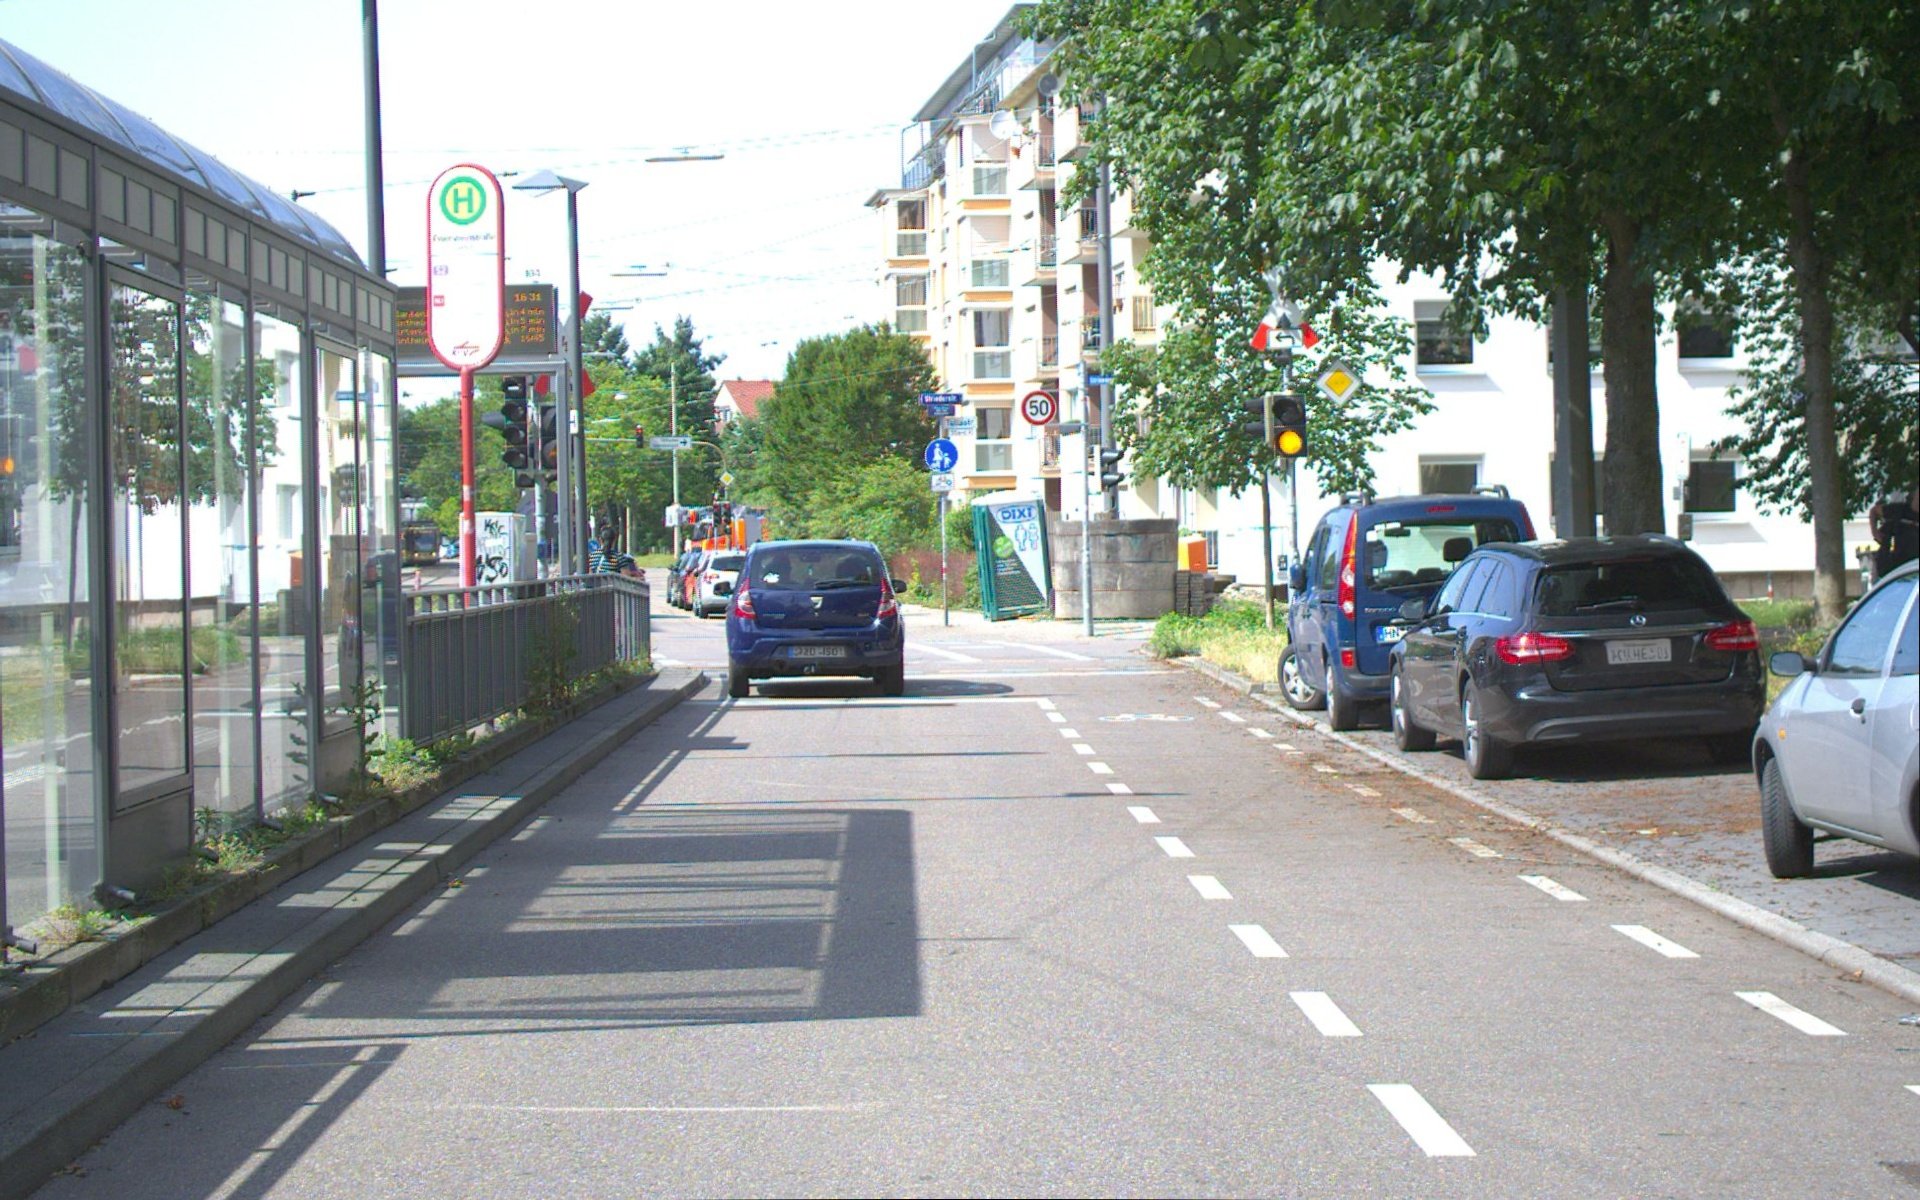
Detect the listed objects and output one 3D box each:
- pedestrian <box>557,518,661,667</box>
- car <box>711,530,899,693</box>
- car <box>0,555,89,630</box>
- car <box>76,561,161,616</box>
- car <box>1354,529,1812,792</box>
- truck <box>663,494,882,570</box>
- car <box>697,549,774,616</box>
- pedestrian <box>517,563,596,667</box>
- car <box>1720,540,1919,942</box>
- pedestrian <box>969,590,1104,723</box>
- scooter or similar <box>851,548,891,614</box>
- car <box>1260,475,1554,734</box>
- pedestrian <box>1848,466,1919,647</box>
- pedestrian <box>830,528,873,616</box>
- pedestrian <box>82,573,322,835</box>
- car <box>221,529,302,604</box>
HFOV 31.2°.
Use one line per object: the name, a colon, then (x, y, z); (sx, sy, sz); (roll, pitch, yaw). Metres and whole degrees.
pedestrian: (-3.993, -0.083, 39.108); (0.845, 1.662, 0.798); (-2, 0, -36)
car: (-1.511, 0.095, 34.220); (1.744, 1.502, 4.000); (1, 0, -2)
car: (-20.988, -0.186, 77.494); (1.993, 1.639, 4.001); (1, 0, -5)
car: (-22.829, -0.313, 93.406); (1.768, 1.437, 4.001); (1, 0, -7)
car: (3.987, 0.309, 22.846); (1.917, 1.437, 4.797); (-3, 1, -2)
truck: (-8.948, -3.215, 164.398); (10.131, 3.459, 2.676); (0, 0, -21)
car: (-5.125, -0.401, 78.026); (1.622, 1.460, 3.511); (1, 0, -5)
pedestrian: (-4.686, 0.173, 39.896); (0.636, 1.176, 0.799); (-2, 0, -27)
car: (4.241, 0.477, 13.526); (1.590, 1.440, 3.598); (-3, 1, -1)
pedestrian: (1.191, 0.862, 55.024); (1.993, 2.007, 4.000); (1, 0, -1)
scooter or similar: (-1.835, -0.393, 71.045); (0.662, 1.299, 0.869); (-4, 1, -6)
car: (3.578, -0.023, 28.194); (1.823, 1.889, 4.184); (-2, 2, 0)
pedestrian: (8.958, -0.419, 32.766); (0.744, 1.690, 0.767); (-2, 1, 0)
pedestrian: (-2.274, -0.582, 71.899); (0.701, 1.783, 1.030); (-4, 1, -6)
pedestrian: (-3.261, 0.432, 14.809); (0.663, 1.068, 0.722); (0, 2, 33)
car: (-21.981, -1.082, 108.304); (1.993, 2.267, 4.835); (1, 1, -6)
